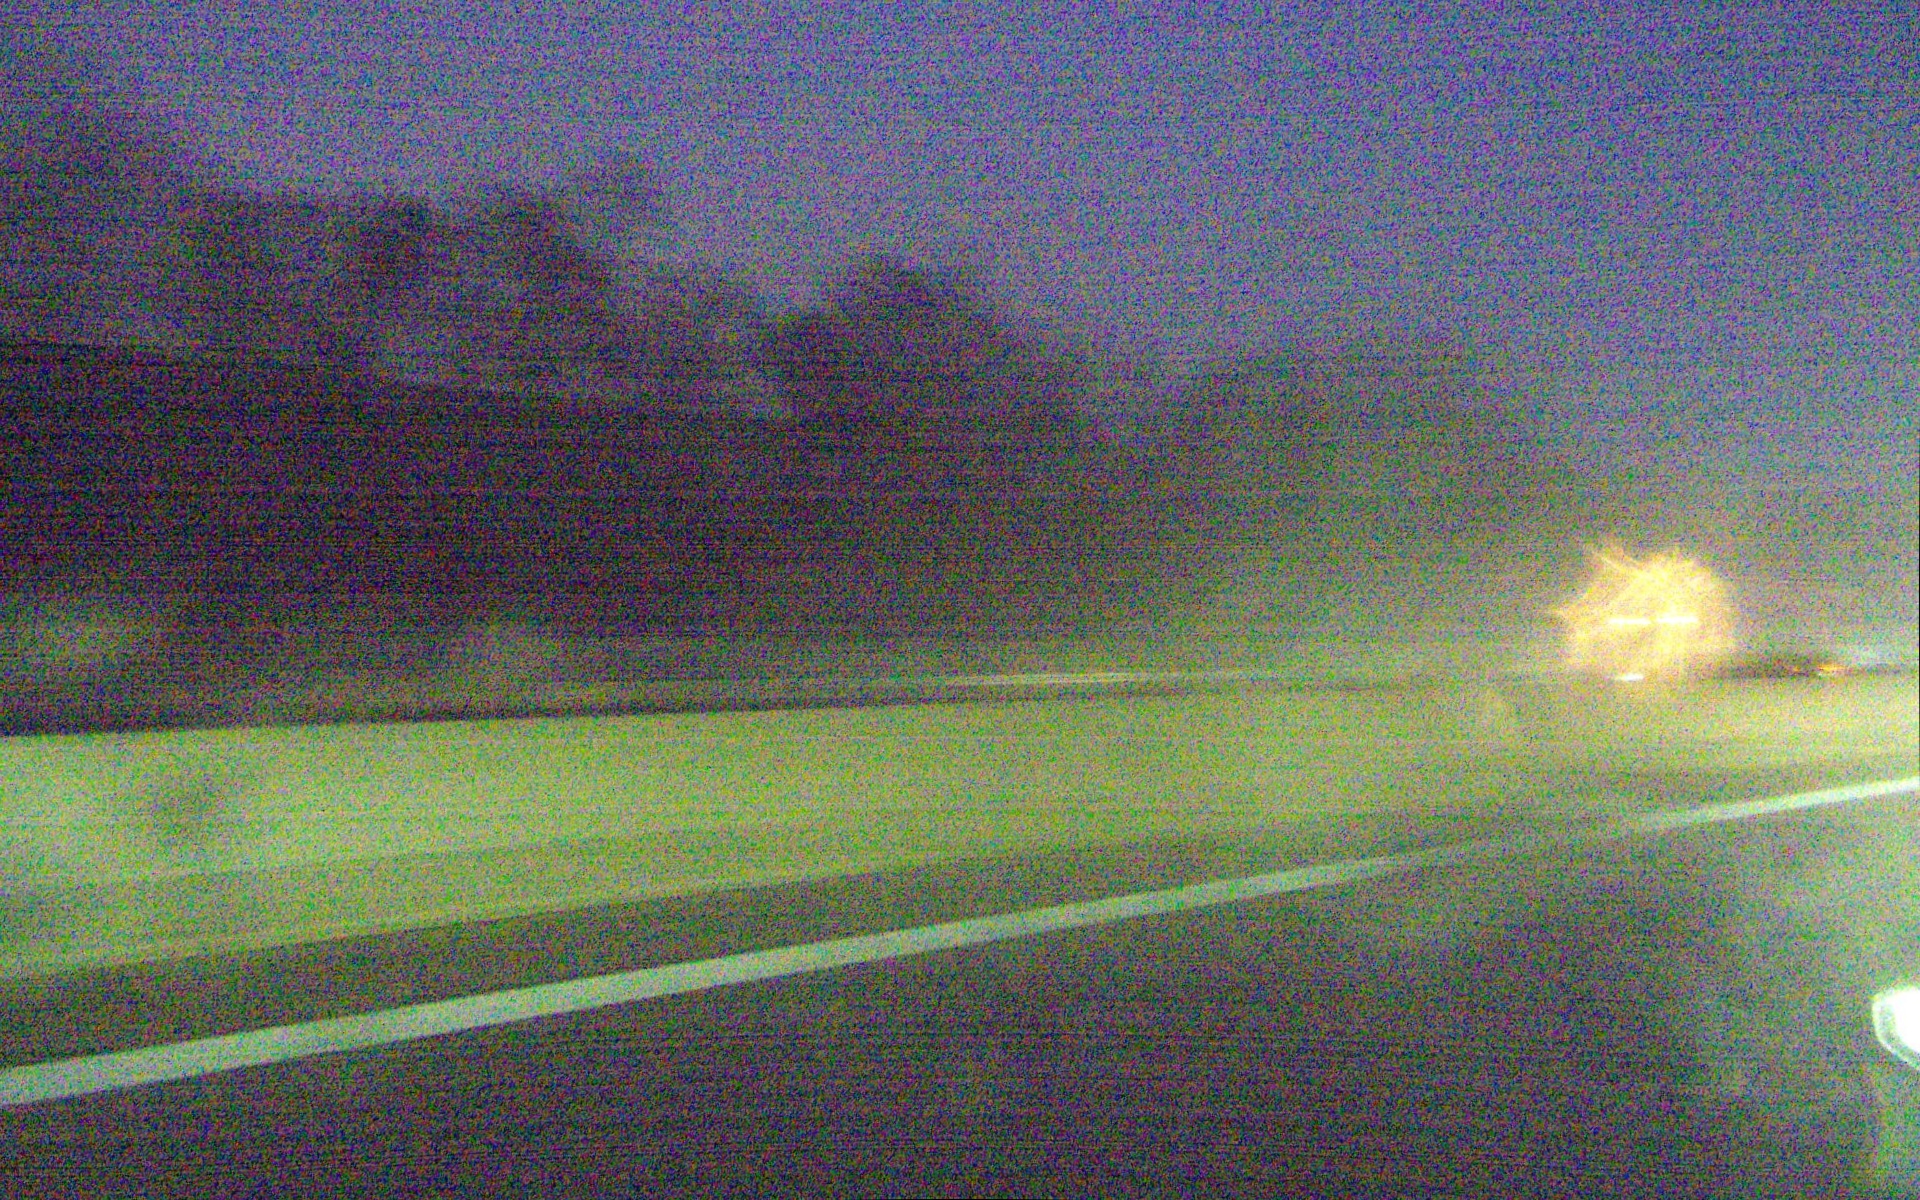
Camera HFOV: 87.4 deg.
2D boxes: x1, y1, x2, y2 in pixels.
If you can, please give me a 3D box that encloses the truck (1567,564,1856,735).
[{"bbox_3d":[28.301,1.690,37.607,12.057,5.619,3.826,1,1,-28],"label":"truck"}]
